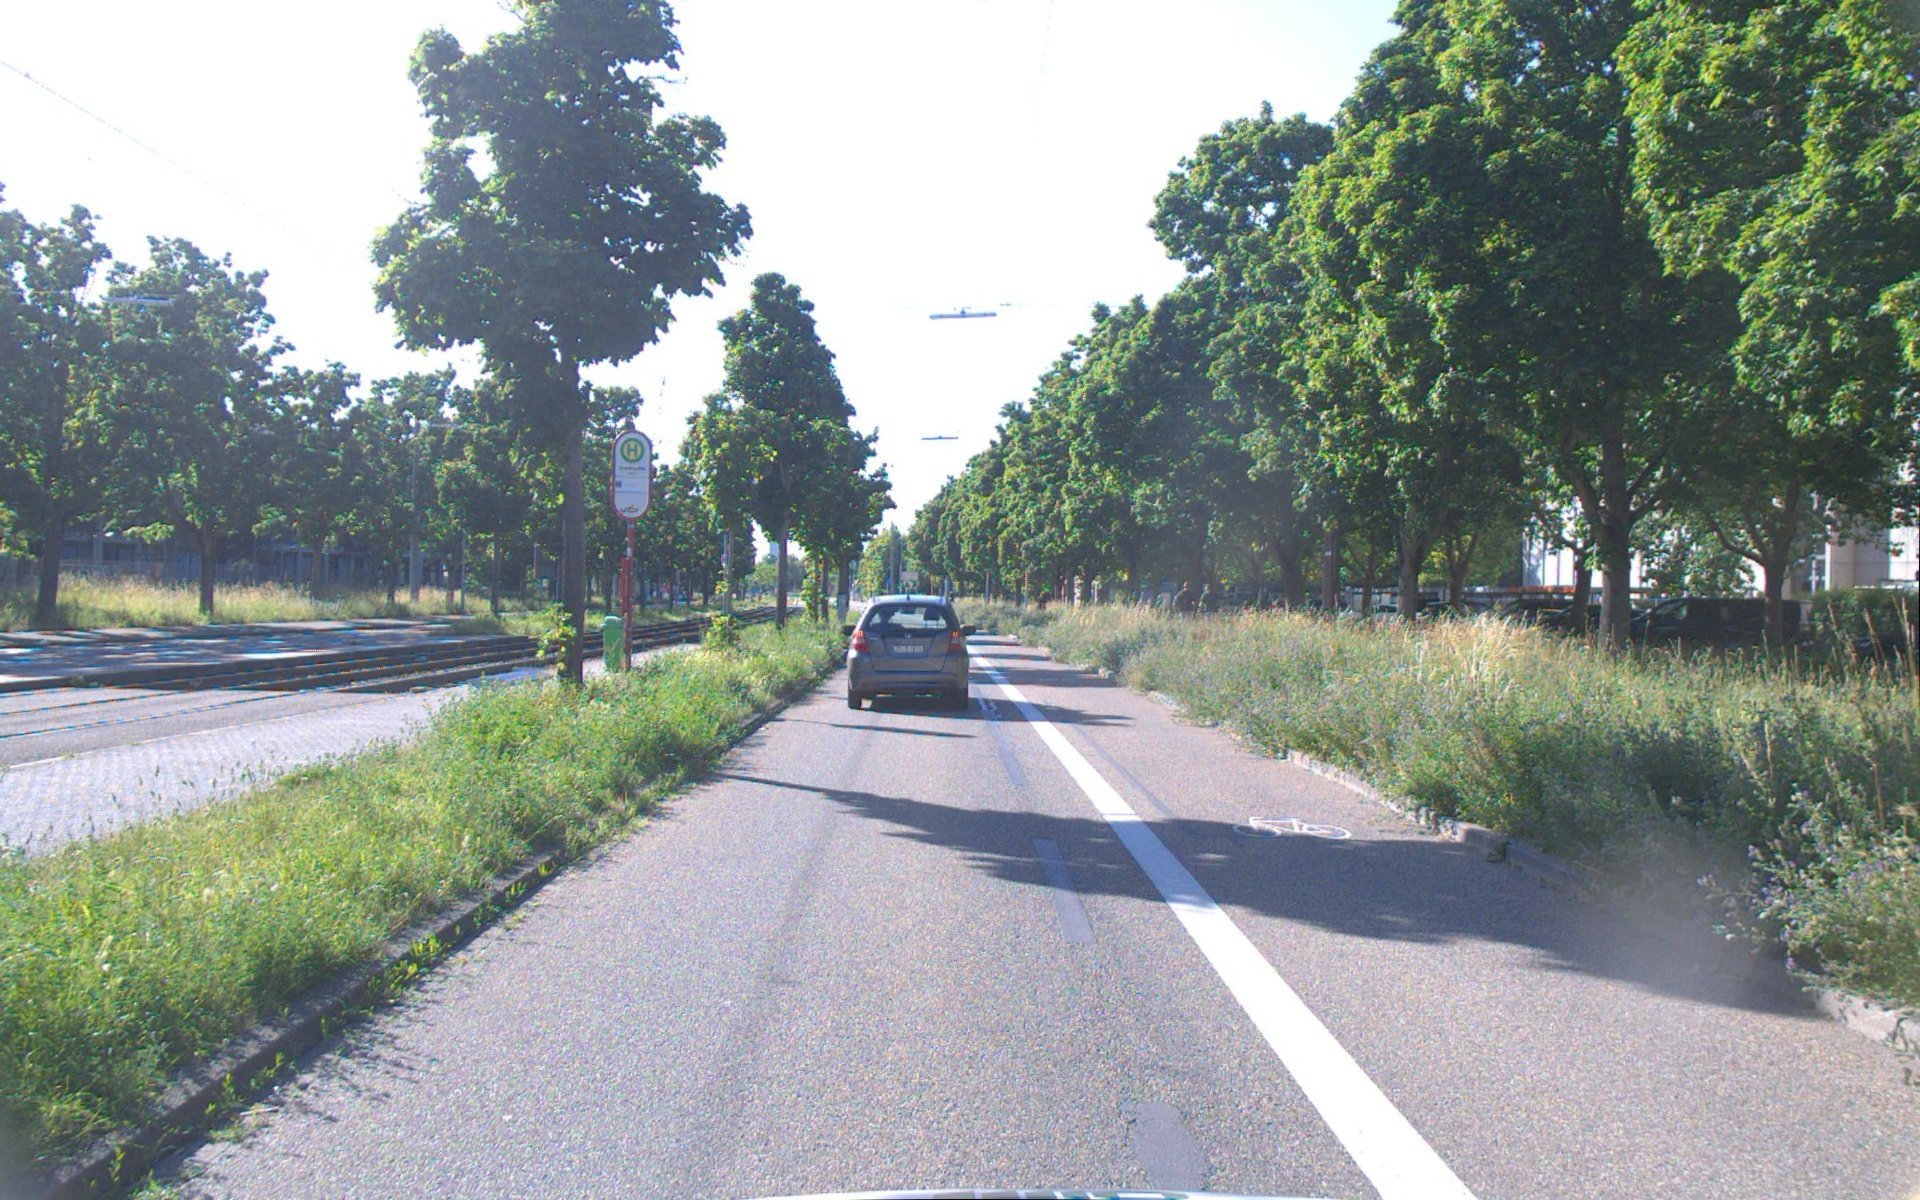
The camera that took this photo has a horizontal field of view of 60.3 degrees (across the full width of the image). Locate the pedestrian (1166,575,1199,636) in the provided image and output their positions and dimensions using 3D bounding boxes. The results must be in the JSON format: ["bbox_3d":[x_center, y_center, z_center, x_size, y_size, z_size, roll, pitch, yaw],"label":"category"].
[{"bbox_3d":[7.076,0.164,52.635,0.864,1.917,0.875,1,0,-3],"label":"pedestrian"}]

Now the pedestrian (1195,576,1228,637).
[{"bbox_3d":[7.997,0.193,52.640,0.864,1.917,0.875,1,0,-3],"label":"pedestrian"}]

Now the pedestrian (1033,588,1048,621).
[{"bbox_3d":[4.313,0.233,88.690,0.710,1.720,0.821,1,0,-2],"label":"pedestrian"}]

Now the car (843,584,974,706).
[{"bbox_3d":[-0.793,0.628,23.522,1.667,1.550,3.706,2,-1,-4],"label":"car"}]

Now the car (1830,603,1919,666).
[{"bbox_3d":[22.032,0.779,36.742,4.591,1.350,2.084,1,0,35],"label":"car"}]

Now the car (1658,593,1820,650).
[{"bbox_3d":[22.321,0.602,47.429,3.920,1.540,1.992,1,0,36],"label":"car"}]

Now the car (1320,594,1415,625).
[{"bbox_3d":[21.764,0.500,88.390,4.541,1.583,1.998,1,0,-6],"label":"car"}]

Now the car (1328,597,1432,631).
[{"bbox_3d":[20.431,0.683,80.569,4.541,1.583,1.998,1,0,-6],"label":"car"}]
